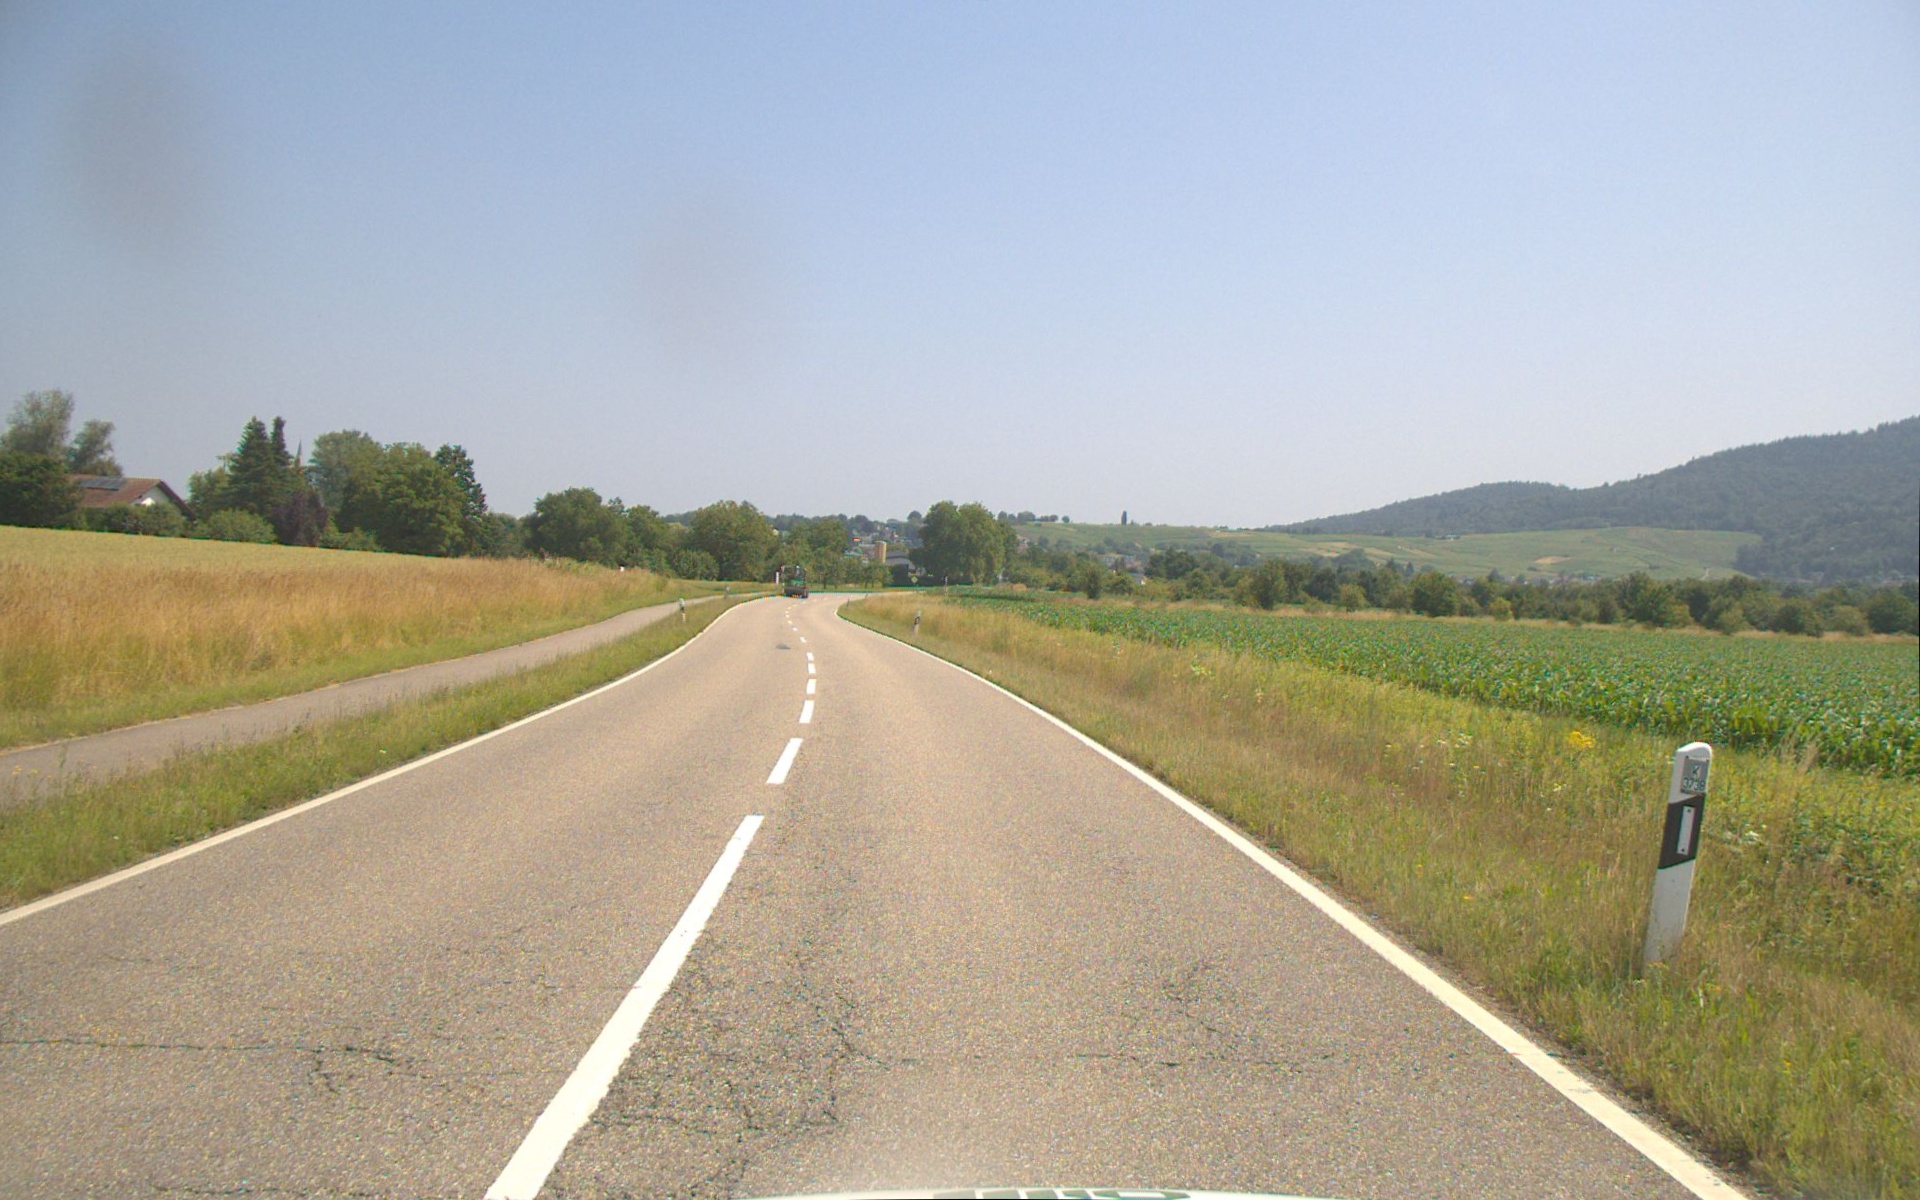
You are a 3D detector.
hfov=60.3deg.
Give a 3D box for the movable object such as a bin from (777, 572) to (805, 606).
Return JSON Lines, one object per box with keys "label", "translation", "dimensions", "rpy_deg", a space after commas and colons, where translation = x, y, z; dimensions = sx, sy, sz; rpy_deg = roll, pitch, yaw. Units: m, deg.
{"label": "movable object such as a bin", "translation": [-15.299, -1.016, 149.918], "dimensions": [1.962, 2.802, 5.227], "rpy_deg": [5, 0, -3]}
